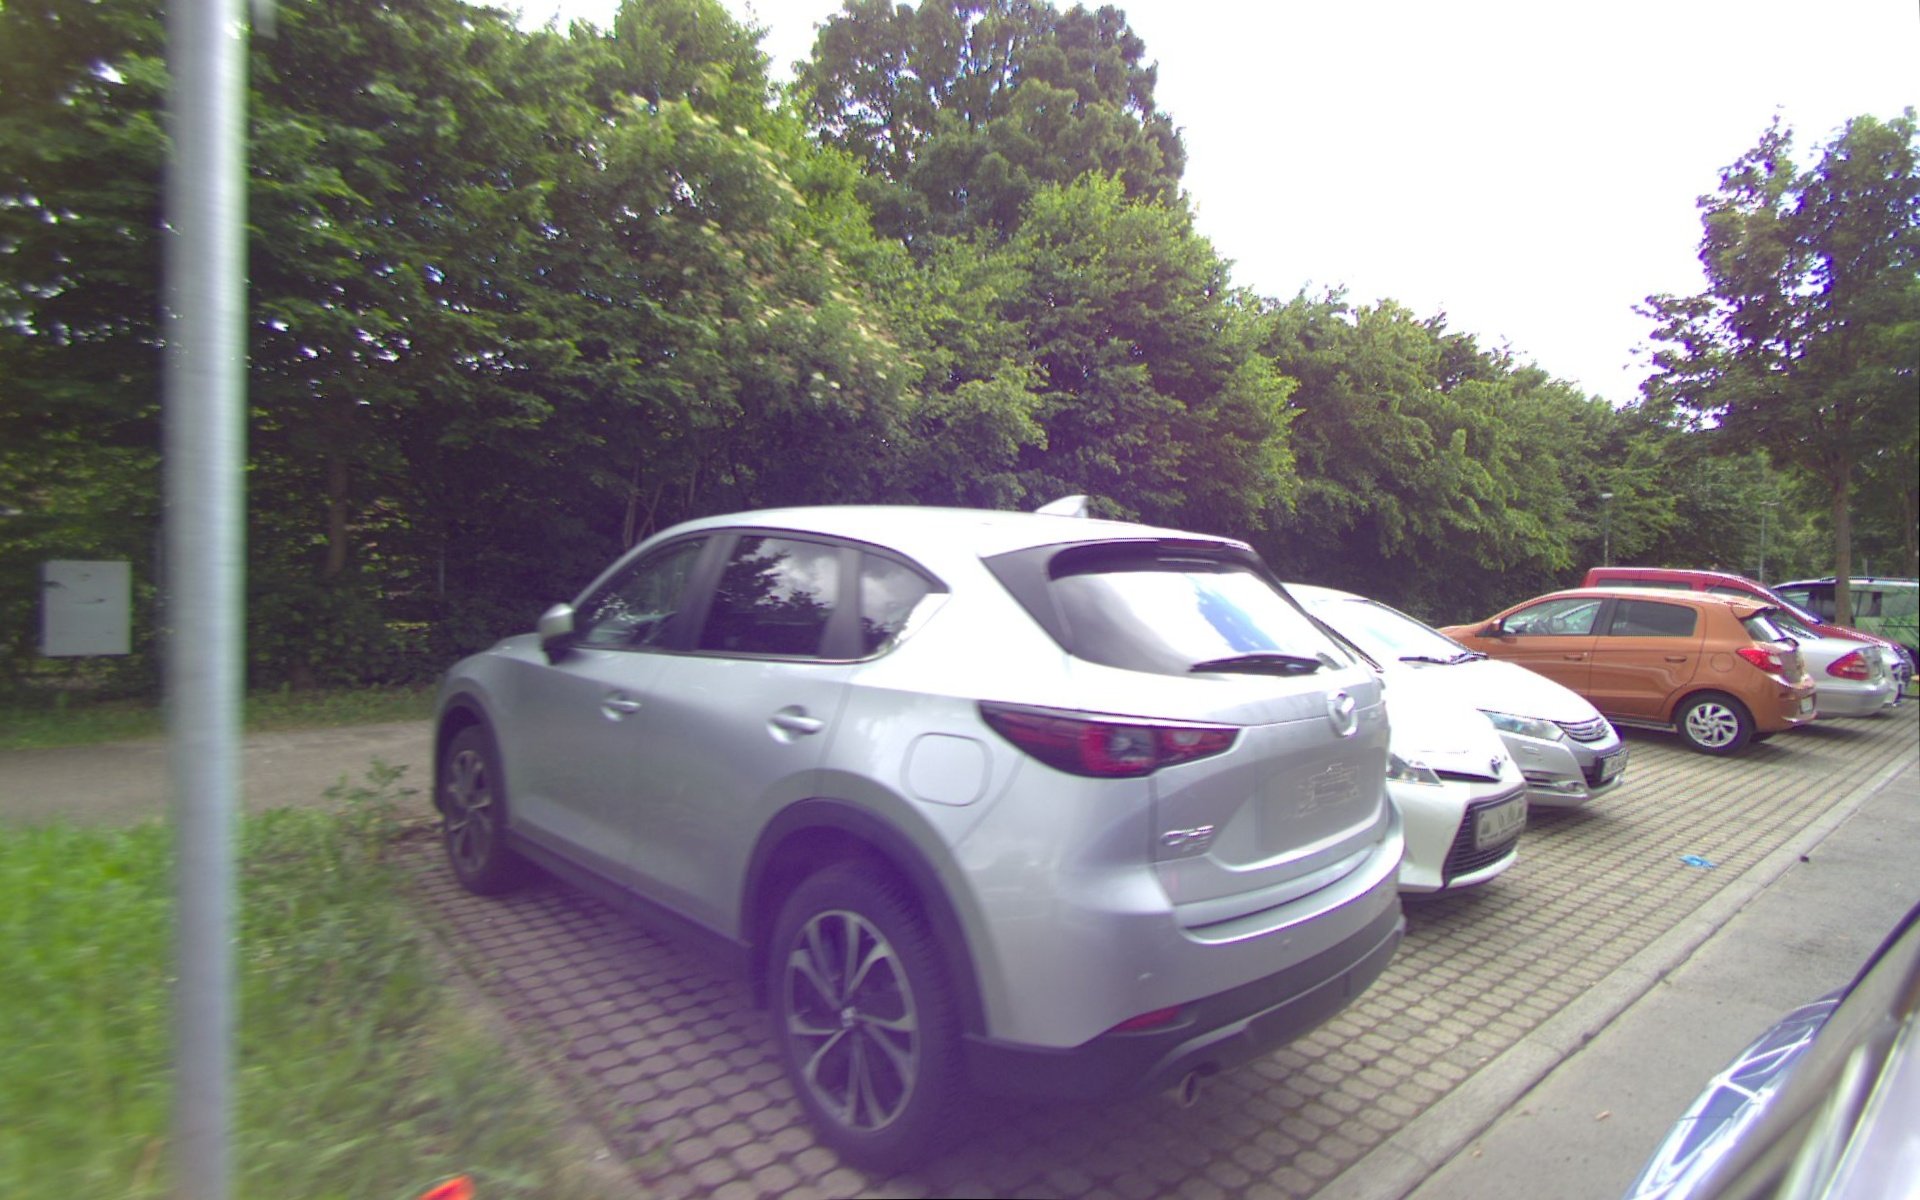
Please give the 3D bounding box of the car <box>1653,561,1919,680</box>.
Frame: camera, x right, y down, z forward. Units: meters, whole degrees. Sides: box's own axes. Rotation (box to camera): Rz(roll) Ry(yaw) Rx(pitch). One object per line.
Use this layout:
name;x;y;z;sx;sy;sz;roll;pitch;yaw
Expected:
car;16.210;0.316;19.331;1.852;1.922;4.558;0;3;-42

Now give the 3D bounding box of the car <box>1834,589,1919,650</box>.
car;27.702;0.553;28.885;2.071;1.622;3.974;-3;3;-42

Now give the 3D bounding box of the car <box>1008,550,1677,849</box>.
car;2.643;0.470;7.897;1.879;1.581;4.484;0;3;-42

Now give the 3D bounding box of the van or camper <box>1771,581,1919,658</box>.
van or camper;23.514;0.488;25.979;1.699;1.897;3.973;0;-1;-42

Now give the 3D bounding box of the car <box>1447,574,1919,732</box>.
car;8.560;0.478;12.237;1.910;1.453;4.405;0;2;-41

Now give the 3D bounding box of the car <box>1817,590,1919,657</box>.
car;25.796;0.611;27.245;1.852;1.754;3.973;0;-1;-42

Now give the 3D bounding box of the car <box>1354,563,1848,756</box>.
car;6.621;0.461;10.885;1.646;1.611;4.158;0;2;-39

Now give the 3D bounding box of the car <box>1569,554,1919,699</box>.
car;12.239;0.293;15.814;1.806;1.916;4.287;0;2;-42

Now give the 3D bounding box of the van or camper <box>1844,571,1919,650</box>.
van or camper;29.360;0.301;30.432;1.852;2.349;3.973;0;-1;-42

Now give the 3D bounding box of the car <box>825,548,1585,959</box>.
car;1.117;0.520;6.088;1.765;1.606;4.161;0;2;-42

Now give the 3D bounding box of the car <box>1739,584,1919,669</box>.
car;19.856;0.554;22.329;1.852;1.754;3.973;0;-1;-42

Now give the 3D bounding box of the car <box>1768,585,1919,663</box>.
car;21.881;0.548;24.027;1.852;1.754;3.973;0;-1;-42

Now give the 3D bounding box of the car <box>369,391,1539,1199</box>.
car;-0.584;0.397;4.093;2.036;1.773;4.653;0;3;-44

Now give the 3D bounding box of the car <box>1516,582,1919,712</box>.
car;10.486;0.526;14.243;1.806;1.426;4.287;0;2;-42
